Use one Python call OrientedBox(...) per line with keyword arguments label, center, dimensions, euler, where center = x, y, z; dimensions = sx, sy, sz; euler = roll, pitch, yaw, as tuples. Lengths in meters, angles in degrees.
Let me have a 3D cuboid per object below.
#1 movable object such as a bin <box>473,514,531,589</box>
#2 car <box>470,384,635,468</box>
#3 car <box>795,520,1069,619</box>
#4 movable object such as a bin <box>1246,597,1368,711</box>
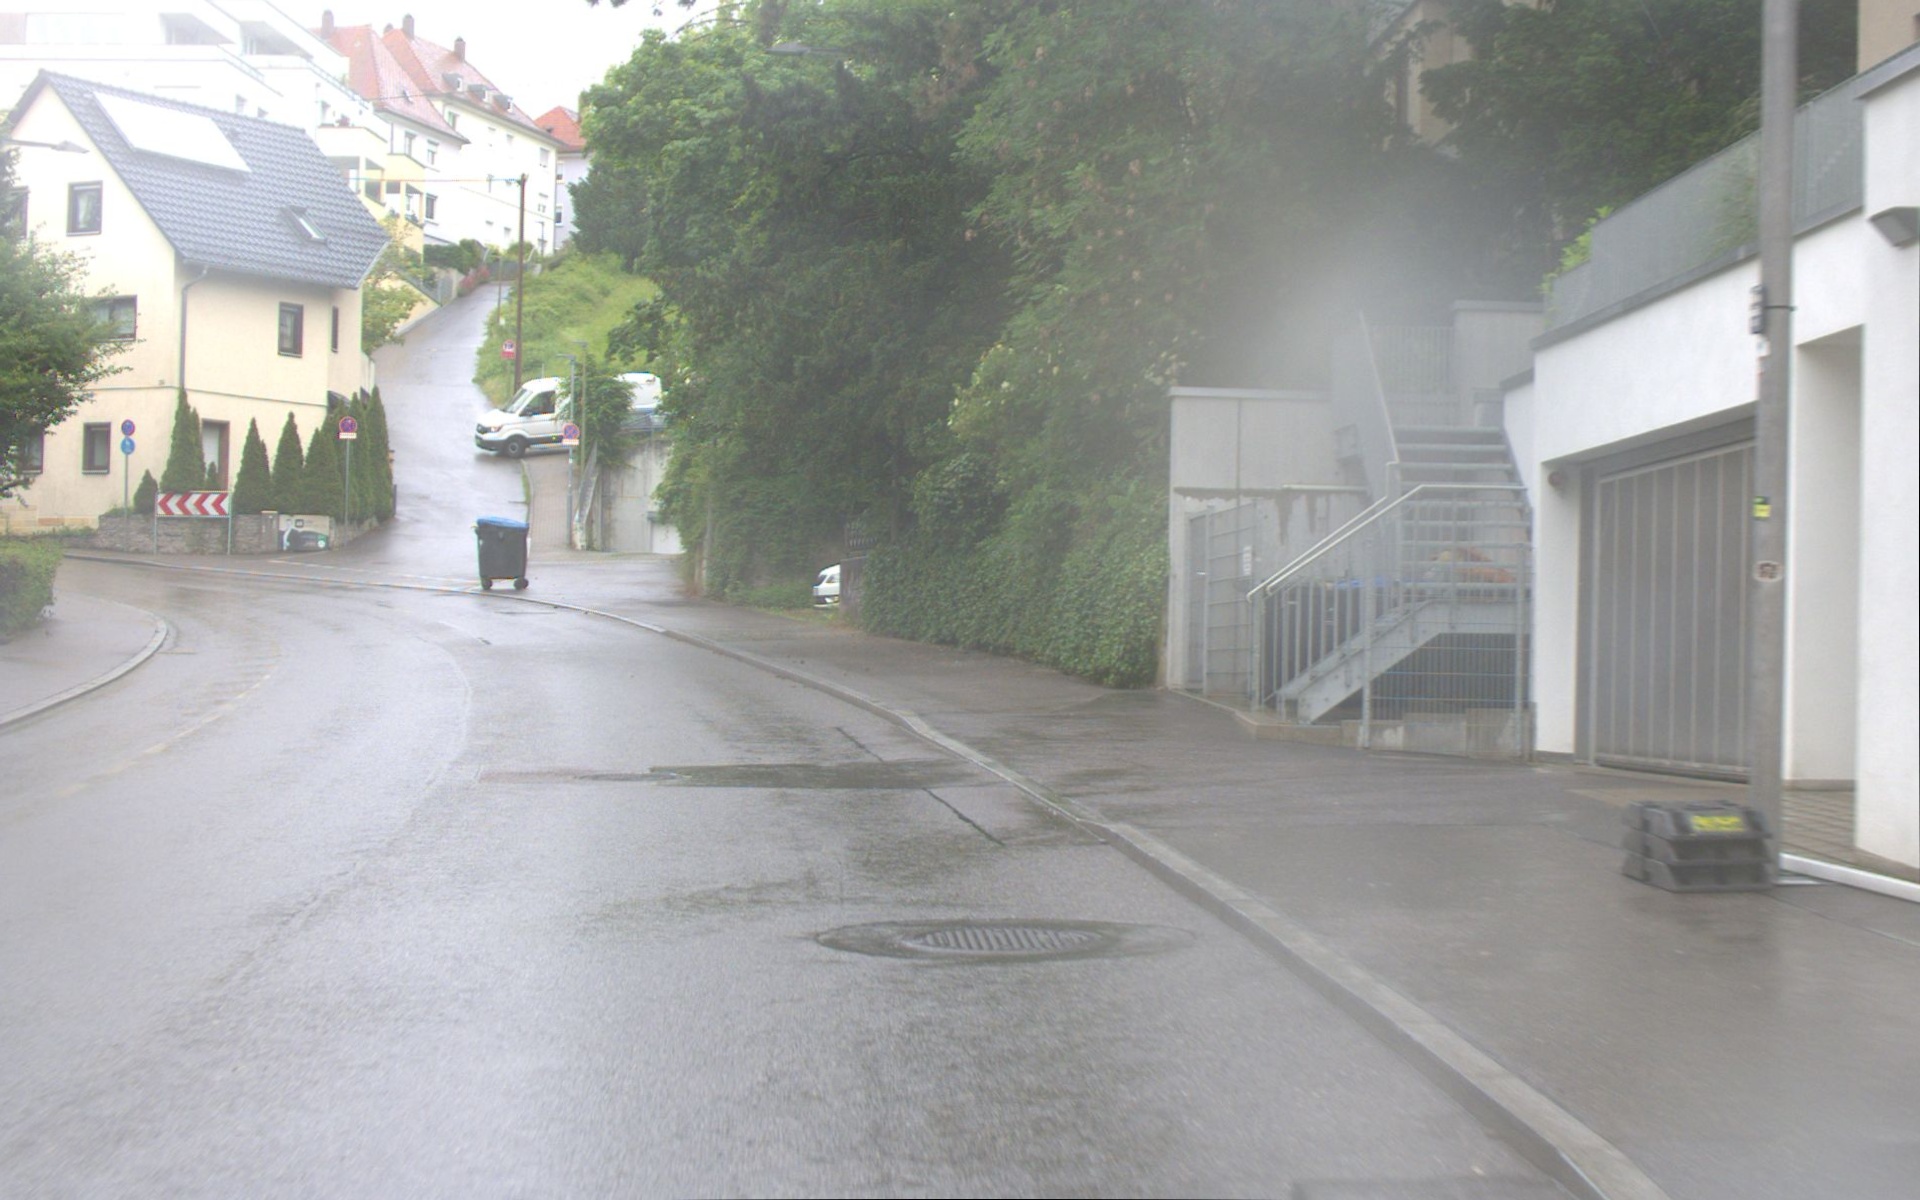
OrientedBox(label="movable object such as a bin", center=(-9.026, -0.962, 67.785), dimensions=(1.081, 1.437, 1.458), euler=(2, 1, -7))
OrientedBox(label="car", center=(-12.916, -5.497, 108.852), dimensions=(4.941, 2.560, 1.905), euler=(-1, 2, -13))
OrientedBox(label="car", center=(-0.469, -0.518, 55.510), dimensions=(4.142, 1.471, 1.905), euler=(-1, 2, -10))
OrientedBox(label="movable object such as a bin", center=(2.948, 0.457, 29.271), dimensions=(0.874, 0.938, 0.746), euler=(1, 1, -8))
